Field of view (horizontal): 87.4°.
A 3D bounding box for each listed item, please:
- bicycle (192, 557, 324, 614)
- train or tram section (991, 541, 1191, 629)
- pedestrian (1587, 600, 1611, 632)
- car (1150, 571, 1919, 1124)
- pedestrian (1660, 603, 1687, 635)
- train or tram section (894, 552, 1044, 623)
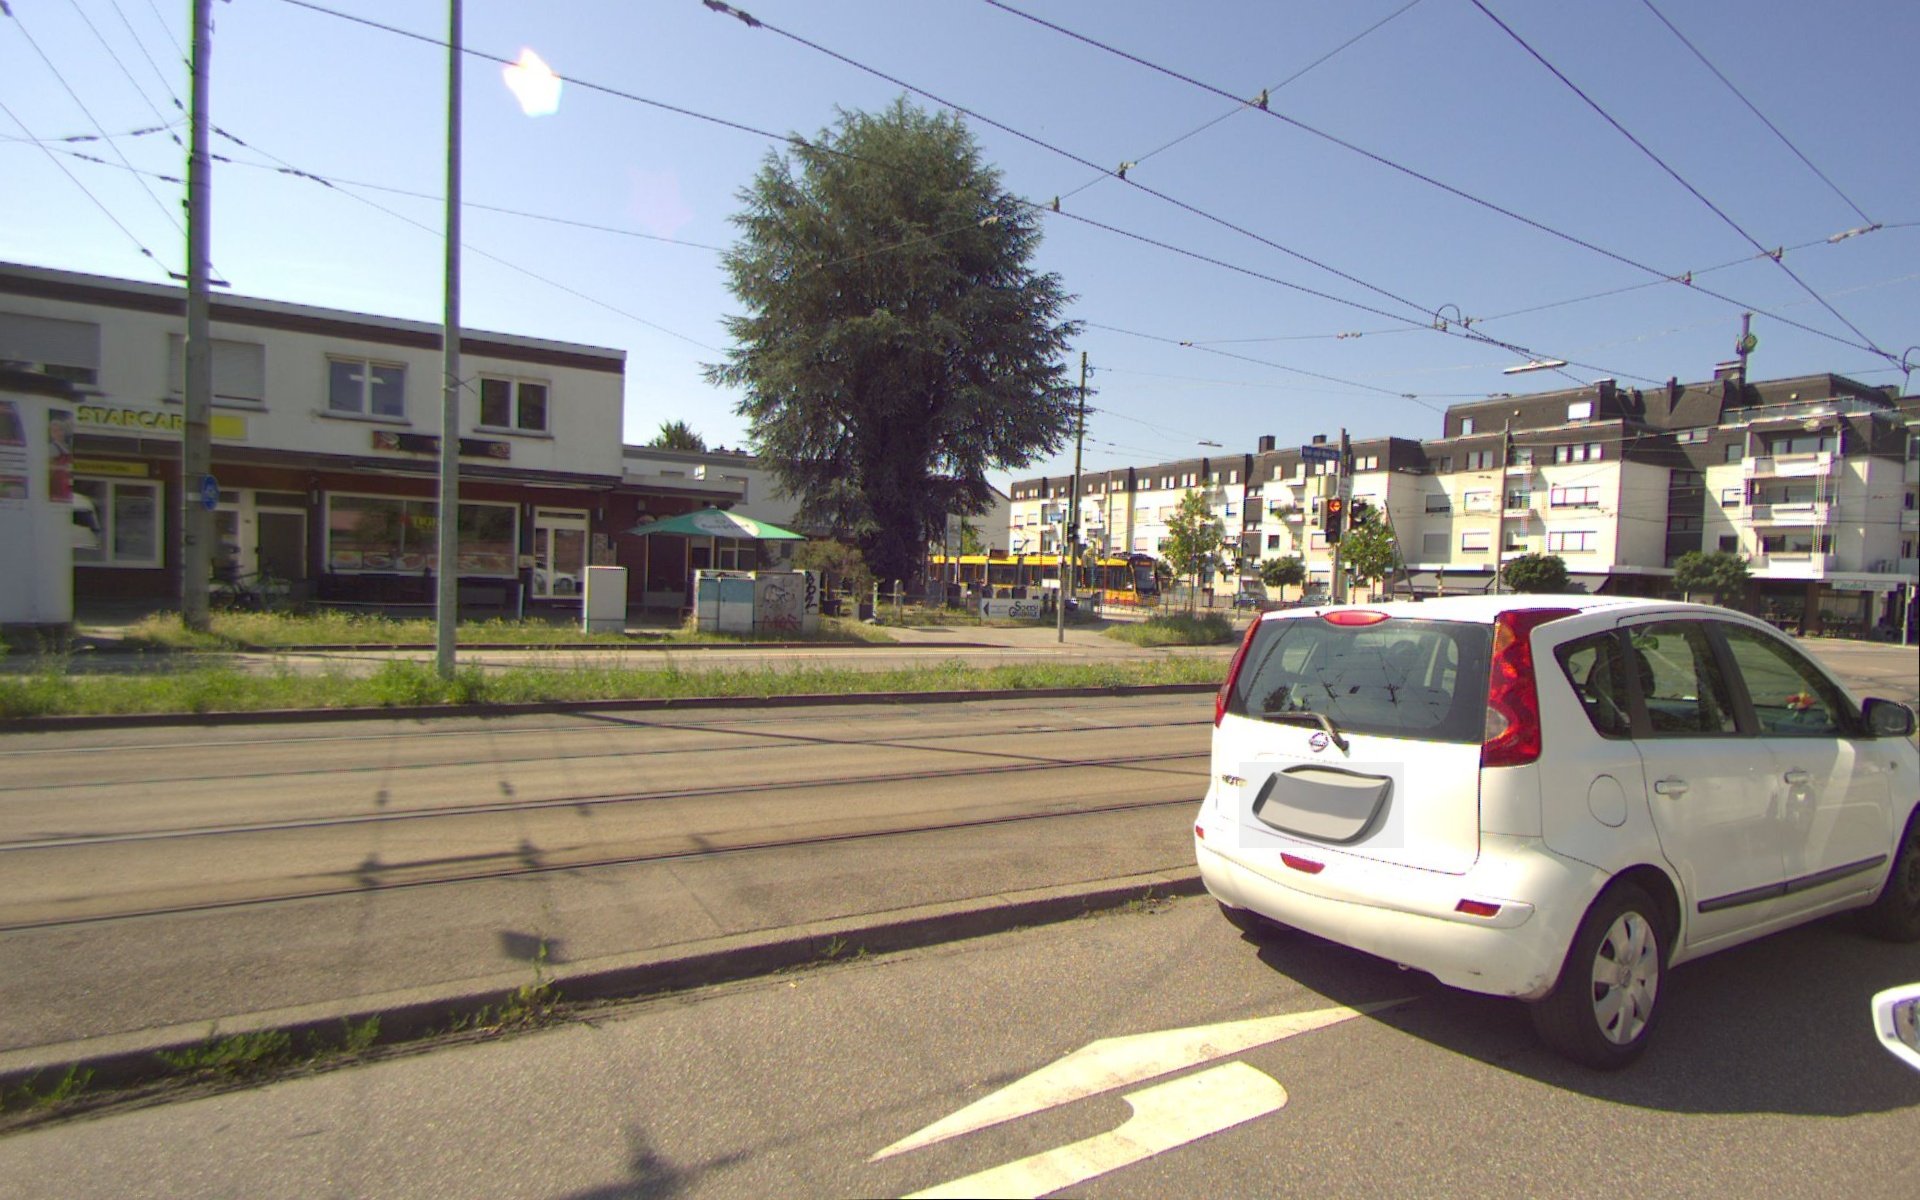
[{"bbox_3d":[-15.513,-0.295,22.272,2.306,1.167,0.783,2,-1,-30],"label":"bicycle"},{"bbox_3d":[8.468,-0.901,69.345,4.681,5.217,16.121,2,-1,-30],"label":"train or tram section"},{"bbox_3d":[35.788,0.901,56.299,0.956,1.766,0.864,2,-1,23],"label":"pedestrian"},{"bbox_3d":[2.837,0.719,4.549,3.759,1.587,1.634,0,0,-31],"label":"car"},{"bbox_3d":[39.590,1.064,55.722,0.955,1.766,0.865,2,-1,17],"label":"pedestrian"},{"bbox_3d":[0.339,-0.932,83.263,4.681,5.217,16.121,2,-1,-30],"label":"train or tram section"}]
